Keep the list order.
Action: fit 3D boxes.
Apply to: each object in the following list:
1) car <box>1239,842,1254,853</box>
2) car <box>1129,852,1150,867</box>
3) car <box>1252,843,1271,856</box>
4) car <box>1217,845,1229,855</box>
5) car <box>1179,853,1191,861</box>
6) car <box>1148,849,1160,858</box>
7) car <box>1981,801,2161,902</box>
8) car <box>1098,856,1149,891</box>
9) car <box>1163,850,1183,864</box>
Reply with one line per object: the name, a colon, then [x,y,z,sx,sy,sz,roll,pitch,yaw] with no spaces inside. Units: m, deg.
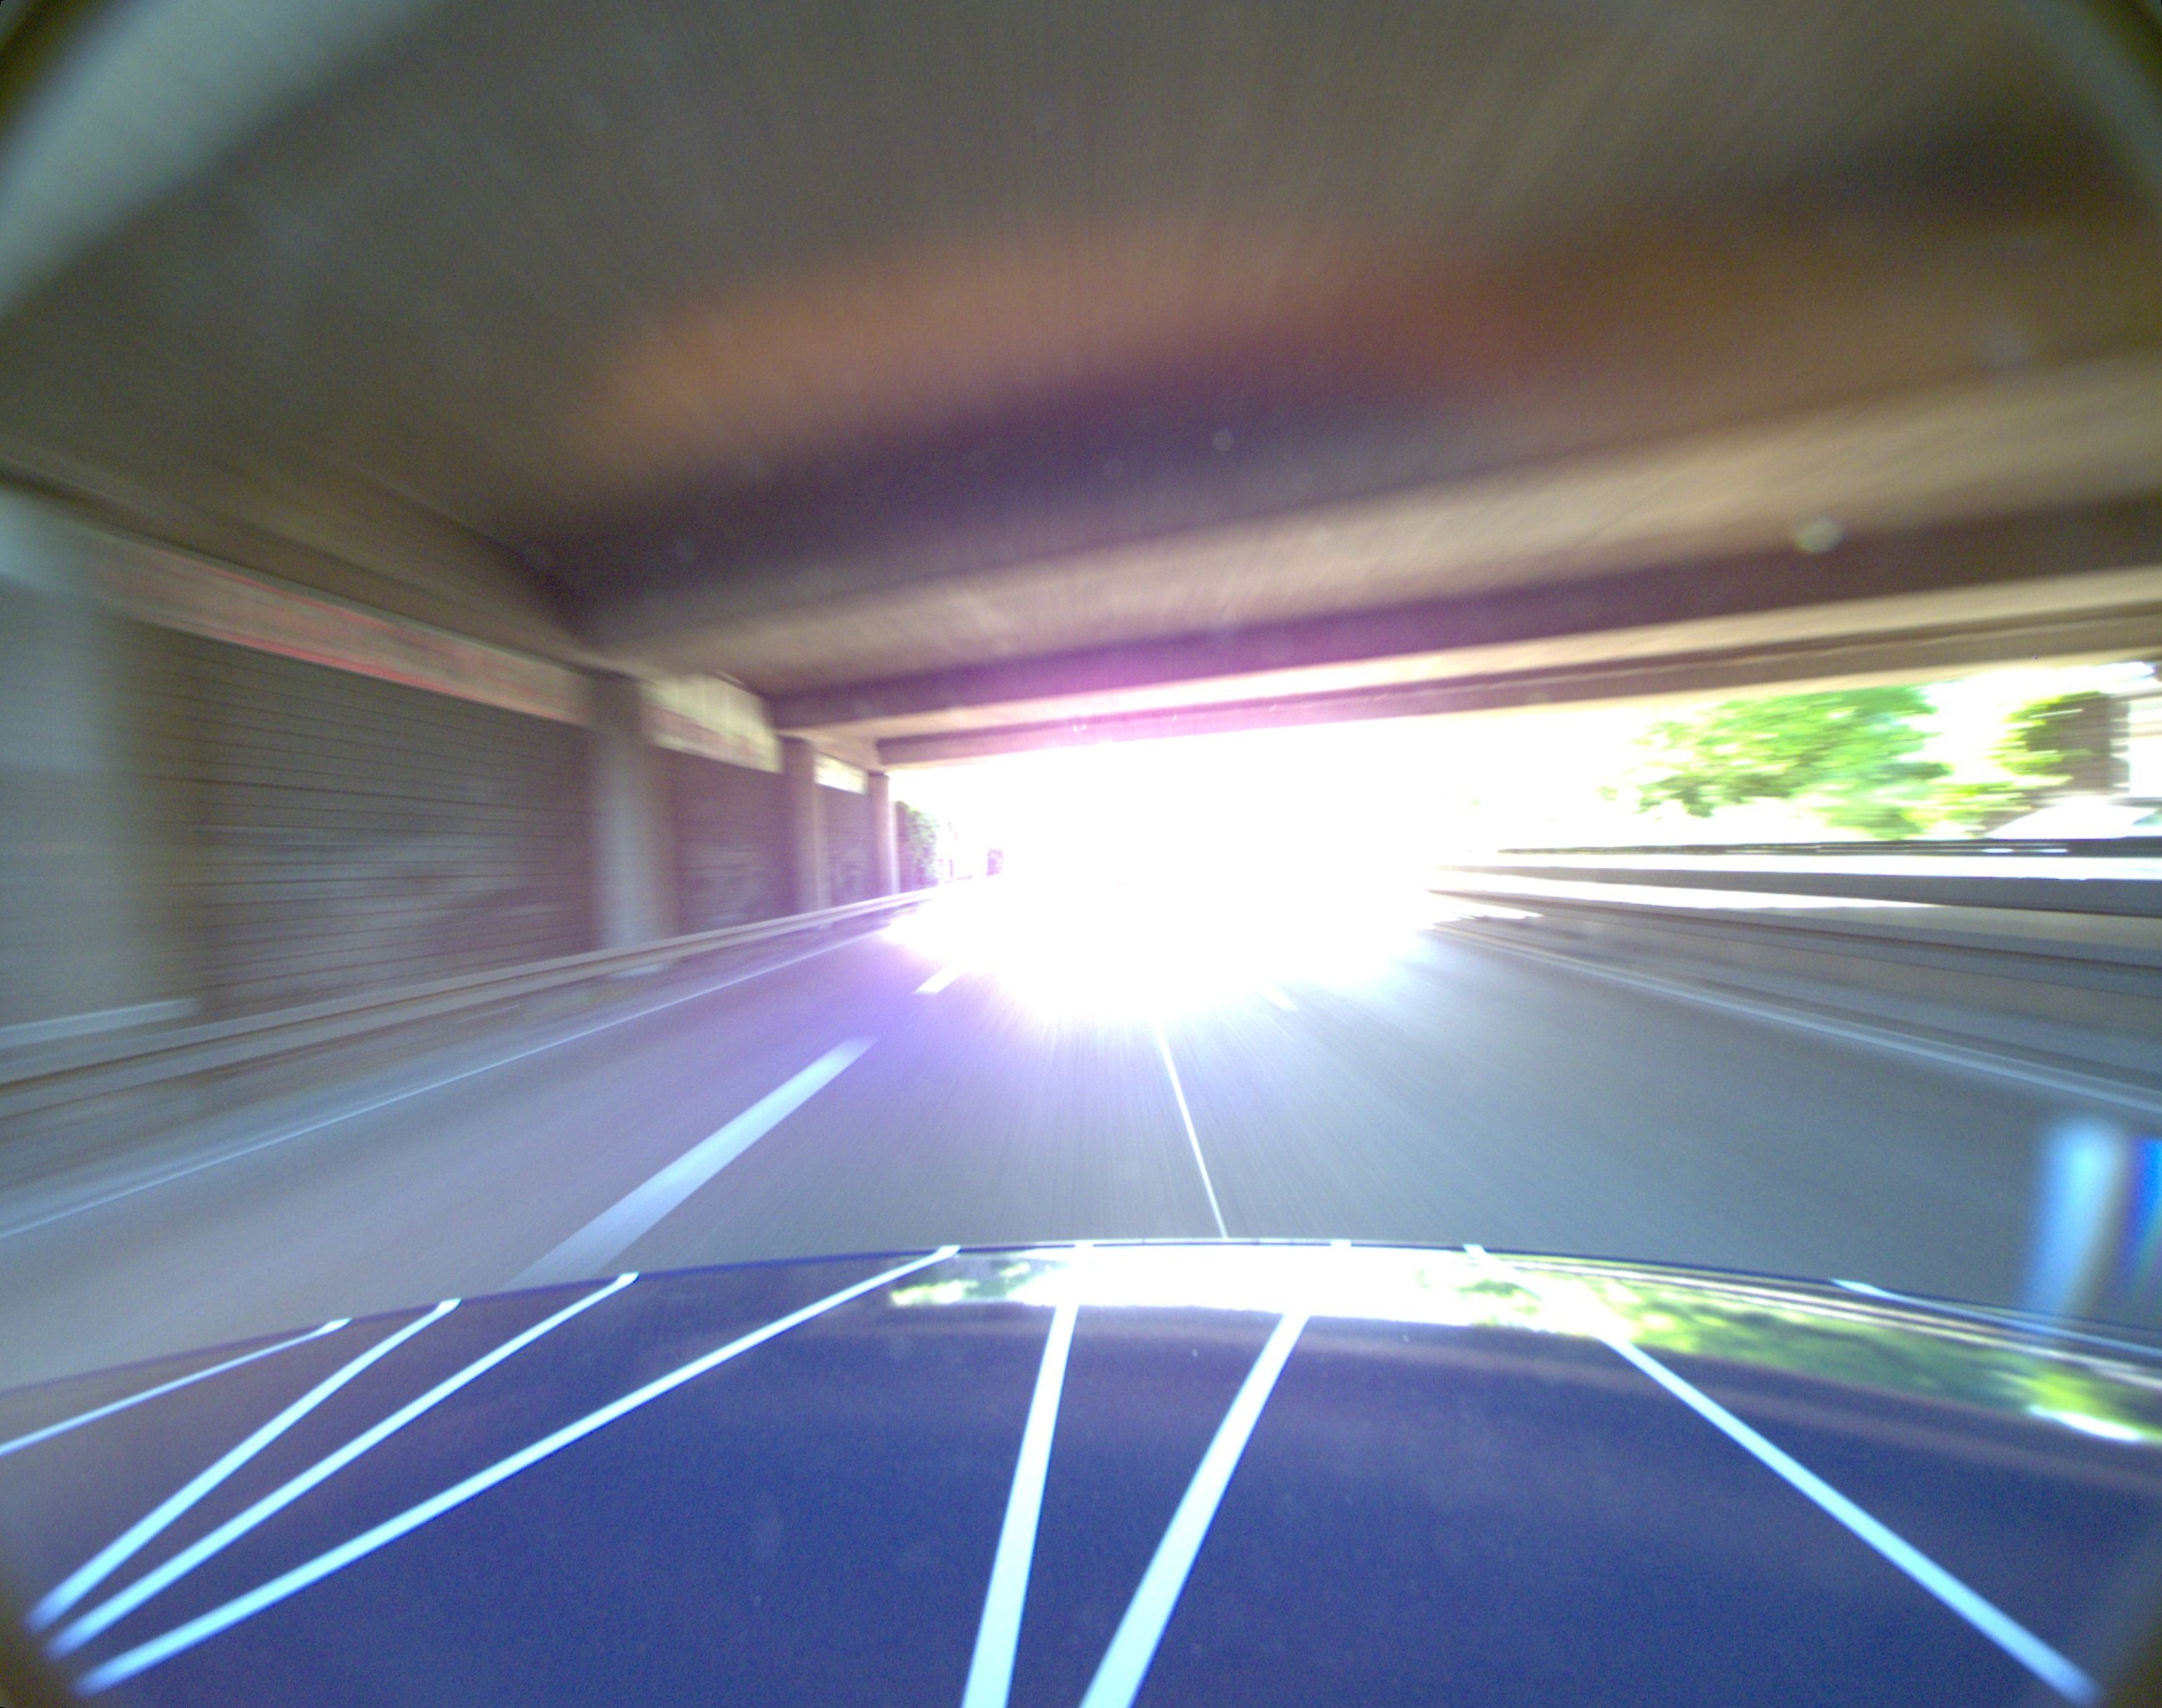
car: [27.606,-1.116,127.120,1.997,1.631,4.723,-3,0,7]
car: [6.524,0.577,84.473,1.997,1.406,4.833,-3,0,8]
car: [24.638,-0.576,103.708,1.997,1.631,4.723,-3,0,7]
car: [26.452,-0.767,141.627,1.997,1.631,4.723,-3,0,7]
car: [20.743,0.499,151.537,1.997,1.406,4.834,-3,0,11]
car: [12.730,-0.077,132.902,1.998,1.406,4.833,-3,0,6]
car: [18.989,-0.073,12.930,1.998,1.696,4.561,-2,0,2]
car: [2.008,0.836,34.593,1.997,1.406,4.832,-2,0,6]
car: [10.307,0.270,85.099,1.998,1.406,4.832,-3,0,5]
